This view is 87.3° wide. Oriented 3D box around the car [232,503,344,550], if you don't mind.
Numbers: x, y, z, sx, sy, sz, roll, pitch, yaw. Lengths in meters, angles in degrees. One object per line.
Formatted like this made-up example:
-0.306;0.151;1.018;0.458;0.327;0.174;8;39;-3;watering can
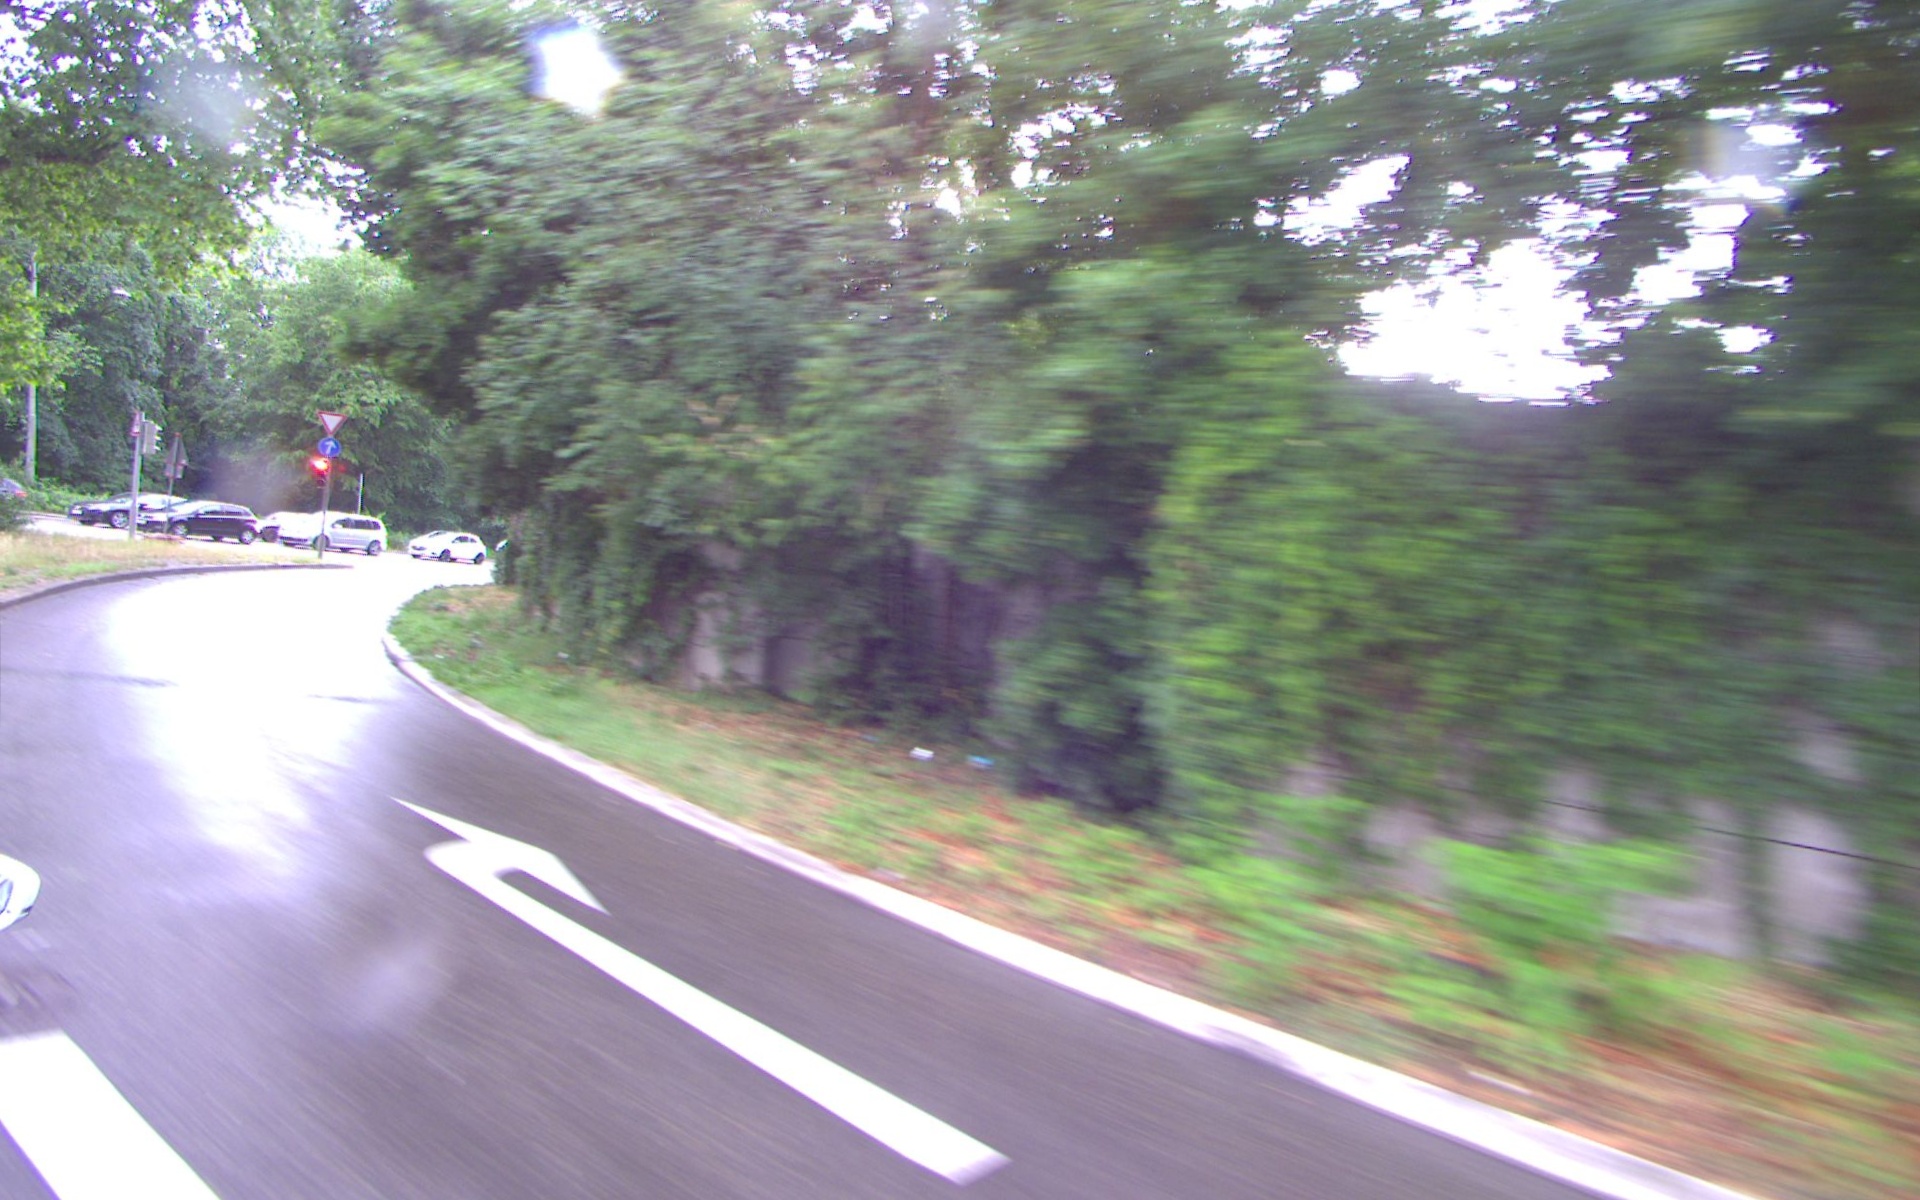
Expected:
-29.262;-3.167;43.950;1.712;1.504;3.836;7;0;13;car

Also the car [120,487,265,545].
-27.764;-3.014;36.531;1.641;1.503;3.867;7;0;18;car

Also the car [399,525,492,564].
-24.866;-2.657;48.795;1.740;1.506;3.998;6;2;13;car

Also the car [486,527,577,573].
-23.231;-2.654;54.701;1.872;1.946;4.861;7;0;13;car

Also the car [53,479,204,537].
-31.306;-3.434;38.014;1.843;1.504;4.002;7;0;13;car

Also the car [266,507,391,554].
-26.479;-2.889;42.344;1.741;1.506;4.270;6;2;17;car
